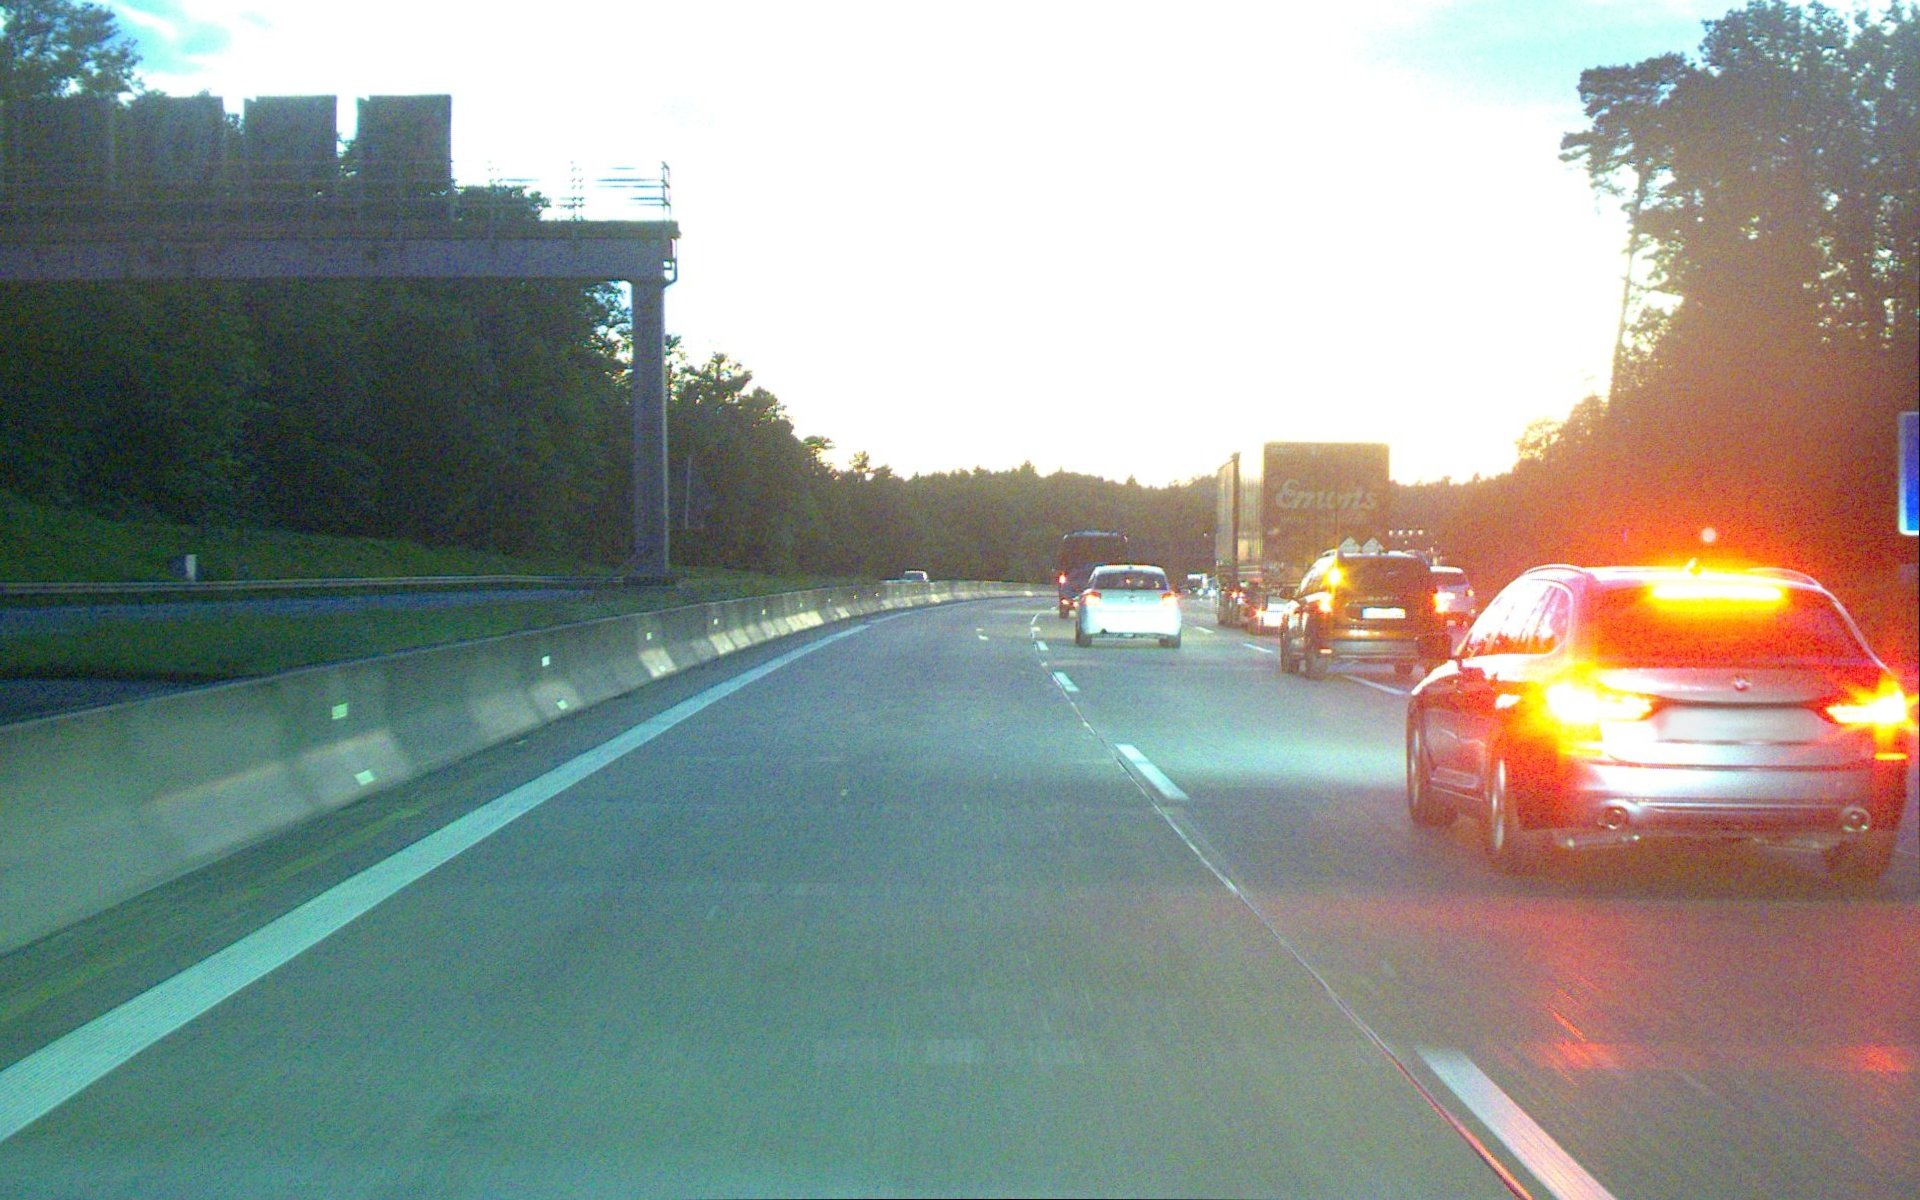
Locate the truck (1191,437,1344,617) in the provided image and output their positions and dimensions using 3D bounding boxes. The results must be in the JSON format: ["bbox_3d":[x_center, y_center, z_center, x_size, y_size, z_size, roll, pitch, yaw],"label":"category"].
[{"bbox_3d":[7.433,-1.664,84.468,2.885,4.087,10.831,1,0,1],"label":"truck"}]

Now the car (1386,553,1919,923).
[{"bbox_3d":[3.429,0.572,17.735,1.909,1.532,5.231,0,2,1],"label":"car"}]

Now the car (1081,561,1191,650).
[{"bbox_3d":[3.076,0.078,60.323,1.859,1.437,3.720,0,2,3],"label":"car"}]

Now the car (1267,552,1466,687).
[{"bbox_3d":[5.211,0.216,44.714,1.903,1.638,5.052,0,1,-1],"label":"car"}]

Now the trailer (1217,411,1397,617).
[{"bbox_3d":[7.327,-1.702,73.906,2.907,4.087,10.357,1,0,1],"label":"trailer"}]

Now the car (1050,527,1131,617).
[{"bbox_3d":[3.637,-0.735,95.490,2.166,2.410,5.563,0,0,3],"label":"car"}]

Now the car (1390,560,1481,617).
[{"bbox_3d":[12.304,-0.294,89.183,1.859,1.437,4.111,0,0,1],"label":"car"}]
